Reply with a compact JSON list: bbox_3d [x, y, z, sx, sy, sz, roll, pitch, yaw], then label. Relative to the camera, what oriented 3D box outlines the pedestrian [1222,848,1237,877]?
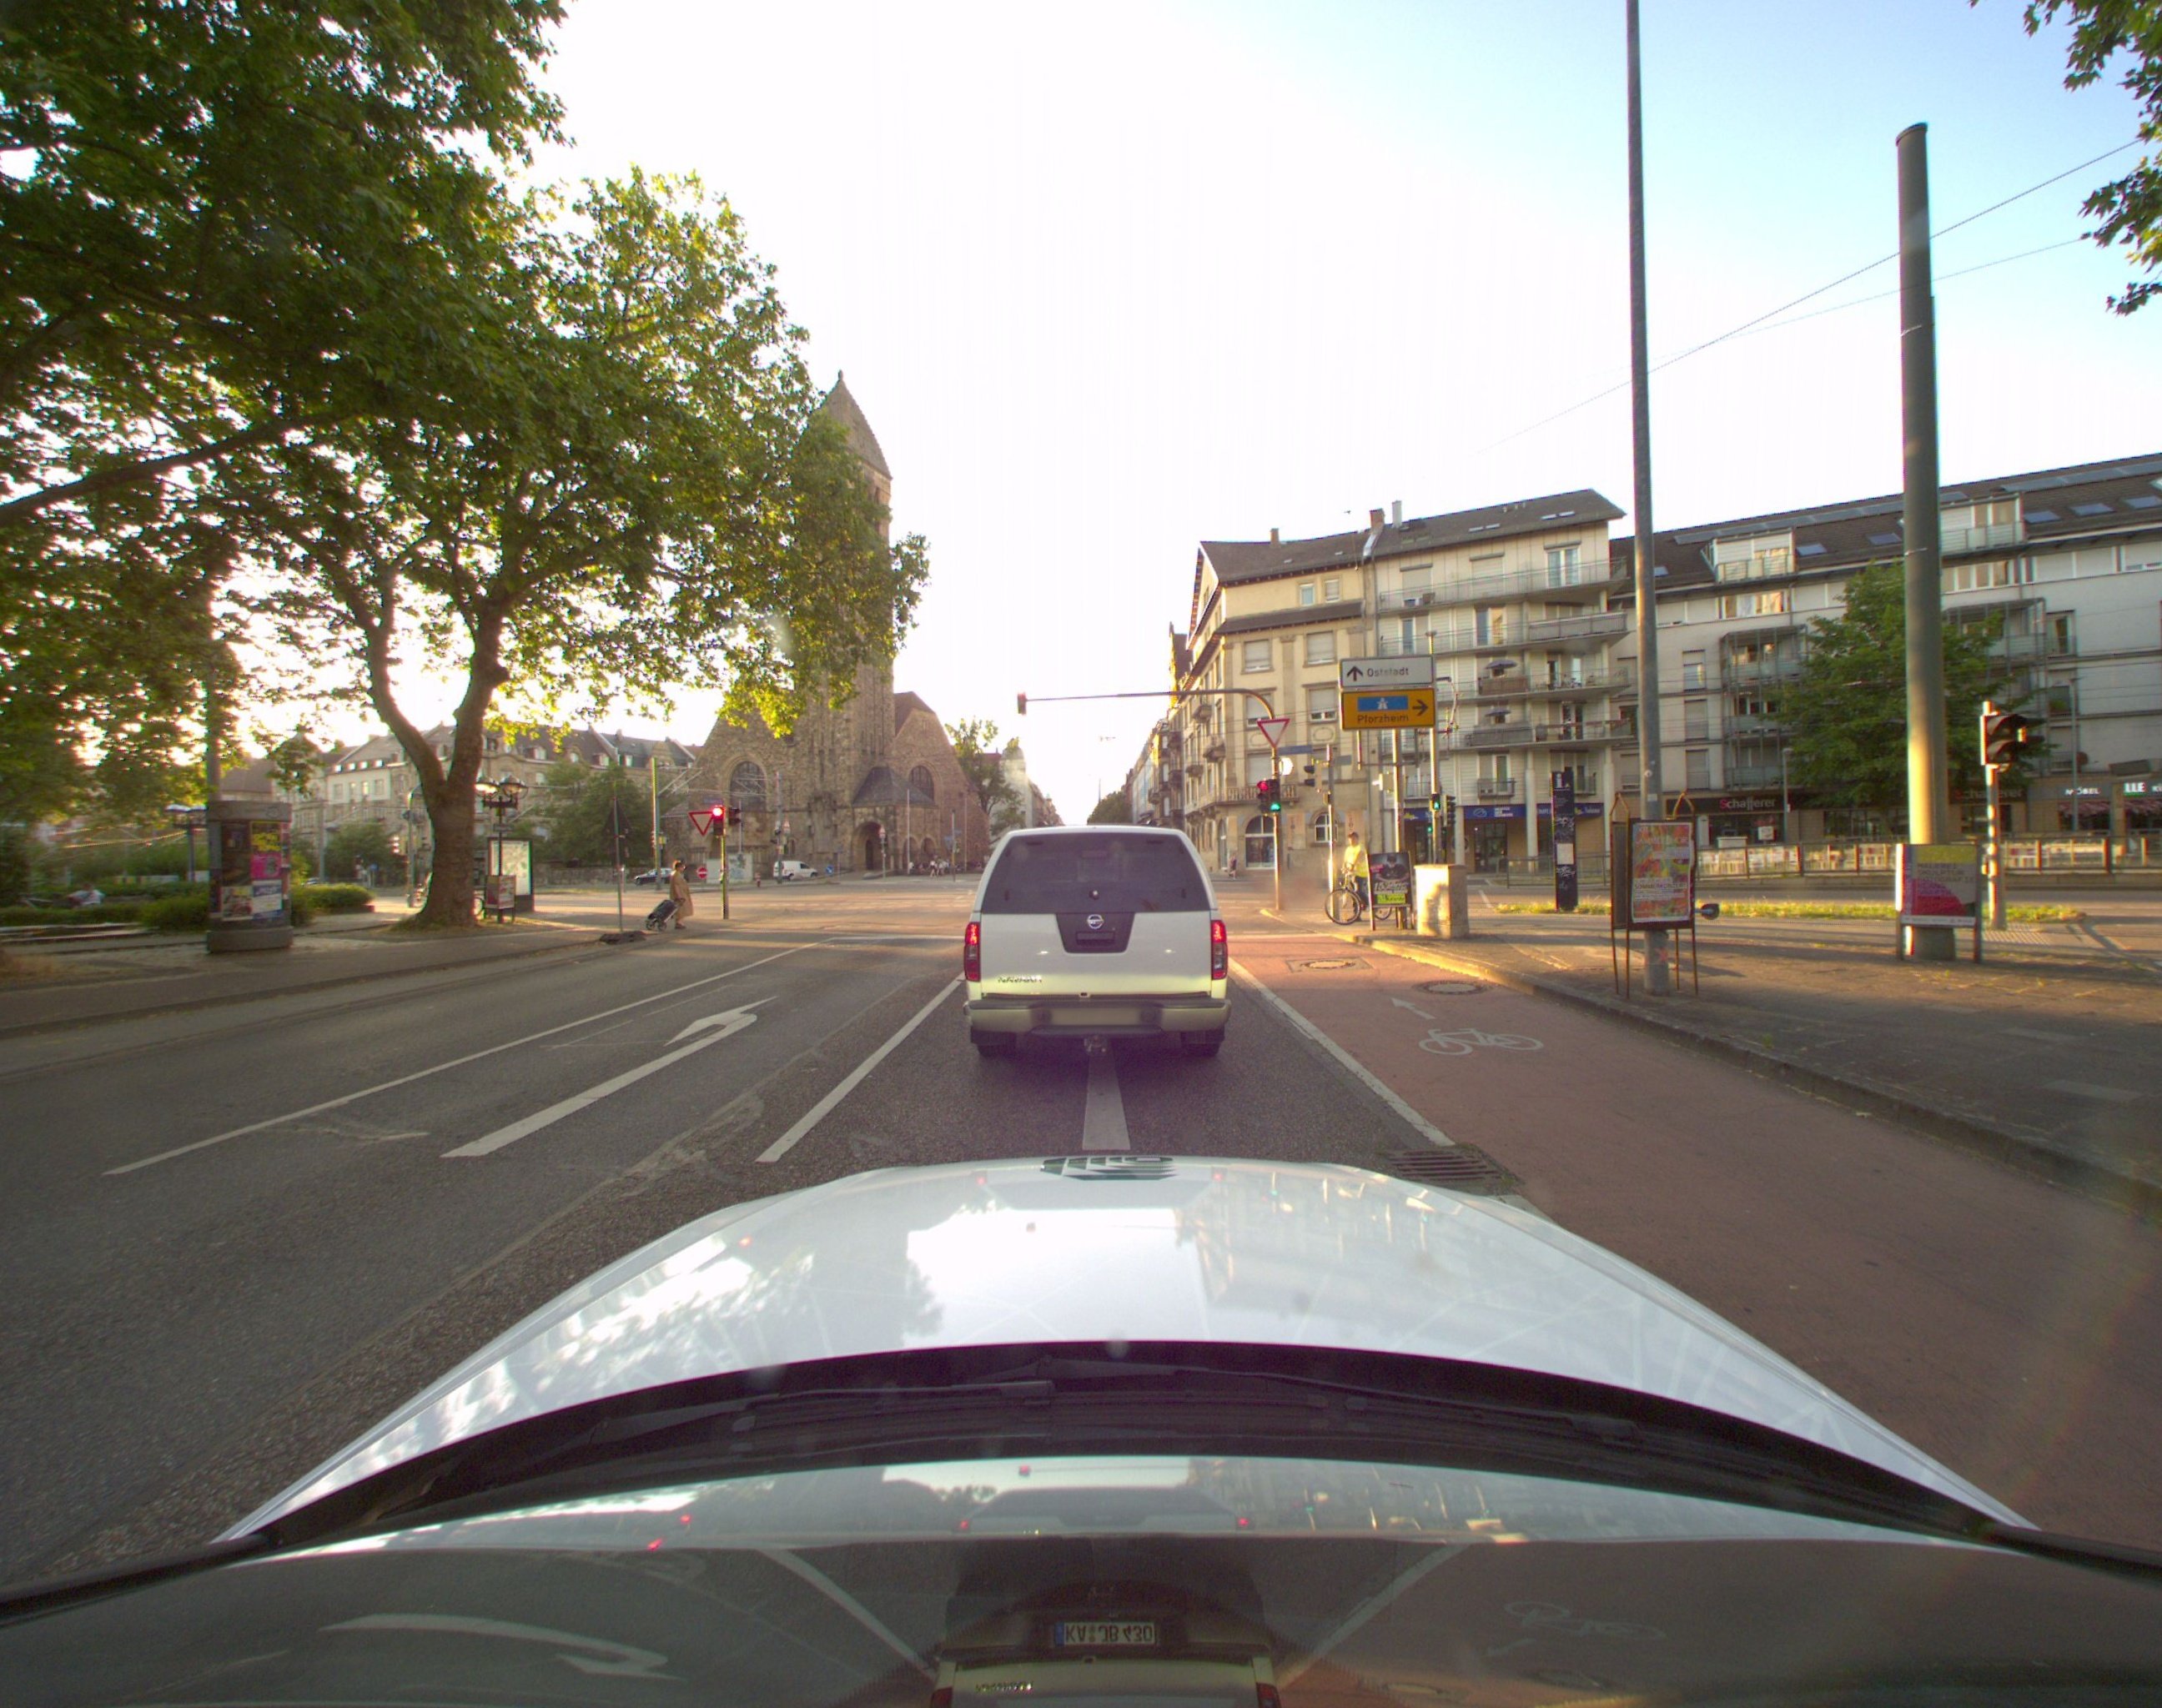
[{"bbox_3d":[9.201,0.500,50.352,0.779,1.779,0.546,-1,-1,27],"label":"pedestrian"}]

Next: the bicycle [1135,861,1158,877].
[{"bbox_3d":[5.038,1.134,62.739,1.721,1.083,0.317,-5,-1,-1],"label":"bicycle"}]

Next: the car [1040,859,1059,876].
[{"bbox_3d":[-3.953,1.707,103.040,1.987,2.013,4.950,-2,0,0],"label":"car"}]

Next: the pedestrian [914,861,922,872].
[{"bbox_3d":[-15.055,1.147,75.230,0.517,0.960,0.482,-1,-1,21],"label":"pedestrian"}]

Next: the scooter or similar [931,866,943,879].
[{"bbox_3d":[-13.140,1.700,74.509,0.629,1.103,1.083,0,-3,16],"label":"scooter or similar"}]

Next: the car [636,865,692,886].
[{"bbox_3d":[-34.204,1.742,66.799,3.950,1.618,2.011,-2,-2,25],"label":"car"}]

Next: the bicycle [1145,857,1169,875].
[{"bbox_3d":[6.143,0.971,65.767,1.849,1.238,0.530,-4,-1,-1],"label":"bicycle"}]

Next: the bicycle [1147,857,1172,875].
[{"bbox_3d":[6.115,0.961,63.193,1.812,1.238,0.488,-4,-1,-1],"label":"bicycle"}]

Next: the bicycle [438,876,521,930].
[{"bbox_3d":[-15.824,1.252,21.506,0.522,1.326,1.998,-1,-1,7],"label":"bicycle"}]

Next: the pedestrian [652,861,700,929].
[{"bbox_3d":[-9.881,0.985,19.910,0.800,1.628,0.773,0,-1,-3],"label":"pedestrian"}]

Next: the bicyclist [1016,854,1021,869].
[{"bbox_3d":[-6.867,0.781,89.527,0.597,1.645,0.962,0,-1,-3],"label":"bicyclist"}]

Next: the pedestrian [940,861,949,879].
[{"bbox_3d":[-12.645,1.479,75.433,0.629,1.698,0.605,-1,-1,12],"label":"pedestrian"}]

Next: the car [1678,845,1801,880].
[{"bbox_3d":[29.524,0.412,36.657,3.950,1.486,1.860,-1,-1,26],"label":"car"}]

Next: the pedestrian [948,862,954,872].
[{"bbox_3d":[-12.936,1.292,80.859,0.522,0.960,0.477,0,-1,-14],"label":"pedestrian"}]

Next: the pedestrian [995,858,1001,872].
[{"bbox_3d":[-10.823,1.400,106.282,0.643,1.855,0.559,0,-1,-13],"label":"pedestrian"}]

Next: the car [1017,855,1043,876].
[{"bbox_3d":[-4.532,1.009,73.197,1.987,1.784,4.797,-1,1,0],"label":"car"}]

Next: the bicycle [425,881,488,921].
[{"bbox_3d":[-18.052,1.334,23.586,0.456,1.093,1.798,0,-1,0],"label":"bicycle"}]

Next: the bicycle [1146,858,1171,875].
[{"bbox_3d":[6.099,0.977,63.904,1.812,1.238,0.477,-4,-1,-1],"label":"bicycle"}]

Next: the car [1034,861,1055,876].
[{"bbox_3d":[-3.920,1.594,88.141,1.987,1.558,4.767,-2,-1,0],"label":"car"}]

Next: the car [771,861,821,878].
[{"bbox_3d":[-26.350,1.453,75.357,1.698,1.517,4.481,-1,-1,26],"label":"car"}]

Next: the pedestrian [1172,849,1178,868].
[{"bbox_3d":[8.432,0.410,72.987,0.525,1.654,0.547,0,-1,1],"label":"pedestrian"}]

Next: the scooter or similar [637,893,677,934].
[{"bbox_3d":[-9.908,1.382,19.055,0.591,0.898,0.849,0,-1,-9],"label":"scooter or similar"}]

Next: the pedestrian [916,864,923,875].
[{"bbox_3d":[-15.141,1.440,76.399,0.473,0.960,0.526,-1,-1,31],"label":"pedestrian"}]

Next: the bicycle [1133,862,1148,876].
[{"bbox_3d":[4.644,1.195,63.631,1.073,1.024,0.317,-4,-1,-1],"label":"bicycle"}]

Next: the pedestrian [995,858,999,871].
[{"bbox_3d":[-11.047,1.330,107.128,0.559,1.695,0.643,0,-1,-6],"label":"pedestrian"}]

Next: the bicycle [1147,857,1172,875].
[{"bbox_3d":[6.222,0.952,64.628,1.812,1.238,0.412,-4,-1,-1],"label":"bicycle"}]

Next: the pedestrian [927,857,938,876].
[{"bbox_3d":[-13.158,1.100,72.146,0.809,1.669,0.859,0,-1,-1],"label":"pedestrian"}]

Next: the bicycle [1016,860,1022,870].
[{"bbox_3d":[-6.839,1.212,89.514,0.597,1.043,1.944,0,-1,-2],"label":"bicycle"}]

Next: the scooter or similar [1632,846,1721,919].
[{"bbox_3d":[10.625,0.492,14.543,1.219,1.249,0.518,-1,-1,41],"label":"scooter or similar"}]

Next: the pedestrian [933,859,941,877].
[{"bbox_3d":[-13.365,1.284,75.630,0.630,1.698,0.604,-1,-1,9],"label":"pedestrian"}]

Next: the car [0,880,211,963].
[{"bbox_3d":[-26.739,1.760,21.523,1.975,1.781,4.669,-3,1,27],"label":"car"}]

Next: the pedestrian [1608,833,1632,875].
[{"bbox_3d":[28.204,0.011,42.654,0.860,2.209,0.825,-1,-1,21],"label":"pedestrian"}]

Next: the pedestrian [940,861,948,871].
[{"bbox_3d":[-13.609,1.217,80.908,0.517,0.960,0.481,-1,-1,19],"label":"pedestrian"}]

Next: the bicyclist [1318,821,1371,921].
[{"bbox_3d":[4.967,0.313,15.359,0.701,1.824,0.622,0,-1,-31],"label":"bicyclist"}]

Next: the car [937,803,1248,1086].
[{"bbox_3d":[0.132,0.608,7.232,1.986,1.809,4.001,0,-1,2],"label":"car"}]

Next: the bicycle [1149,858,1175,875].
[{"bbox_3d":[6.209,0.991,62.249,1.812,1.150,0.636,-5,-1,-1],"label":"bicycle"}]

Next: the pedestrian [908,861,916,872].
[{"bbox_3d":[-15.667,1.156,75.519,0.517,0.960,0.482,-1,-1,21],"label":"pedestrian"}]

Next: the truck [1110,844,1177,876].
[{"bbox_3d":[5.325,0.493,68.841,5.704,2.565,2.260,0,-1,-42],"label":"truck"}]

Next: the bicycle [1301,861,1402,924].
[{"bbox_3d":[5.152,0.703,15.458,2.079,1.109,0.622,0,-1,-31],"label":"bicycle"}]

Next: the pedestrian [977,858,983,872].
[{"bbox_3d":[-12.459,1.406,100.313,0.640,1.695,0.562,0,-1,1],"label":"pedestrian"}]

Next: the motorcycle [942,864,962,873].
[{"bbox_3d":[-14.602,1.692,92.223,2.239,0.988,0.707,0,-1,-4],"label":"motorcycle"}]

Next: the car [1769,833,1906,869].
[{"bbox_3d":[32.680,-0.110,35.317,3.952,1.486,1.859,-1,-1,21],"label":"car"}]

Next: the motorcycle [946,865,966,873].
[{"bbox_3d":[-14.442,1.720,94.248,2.239,0.988,0.707,0,-1,-4],"label":"motorcycle"}]

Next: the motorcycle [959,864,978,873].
[{"bbox_3d":[-13.349,1.744,96.512,2.146,0.988,0.597,-1,-1,21],"label":"motorcycle"}]

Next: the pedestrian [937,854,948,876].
[{"bbox_3d":[-12.264,0.953,72.091,0.809,1.901,0.666,0,-1,-1],"label":"pedestrian"}]

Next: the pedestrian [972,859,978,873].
[{"bbox_3d":[-12.757,1.417,98.079,0.642,1.695,0.560,0,-1,-7],"label":"pedestrian"}]
